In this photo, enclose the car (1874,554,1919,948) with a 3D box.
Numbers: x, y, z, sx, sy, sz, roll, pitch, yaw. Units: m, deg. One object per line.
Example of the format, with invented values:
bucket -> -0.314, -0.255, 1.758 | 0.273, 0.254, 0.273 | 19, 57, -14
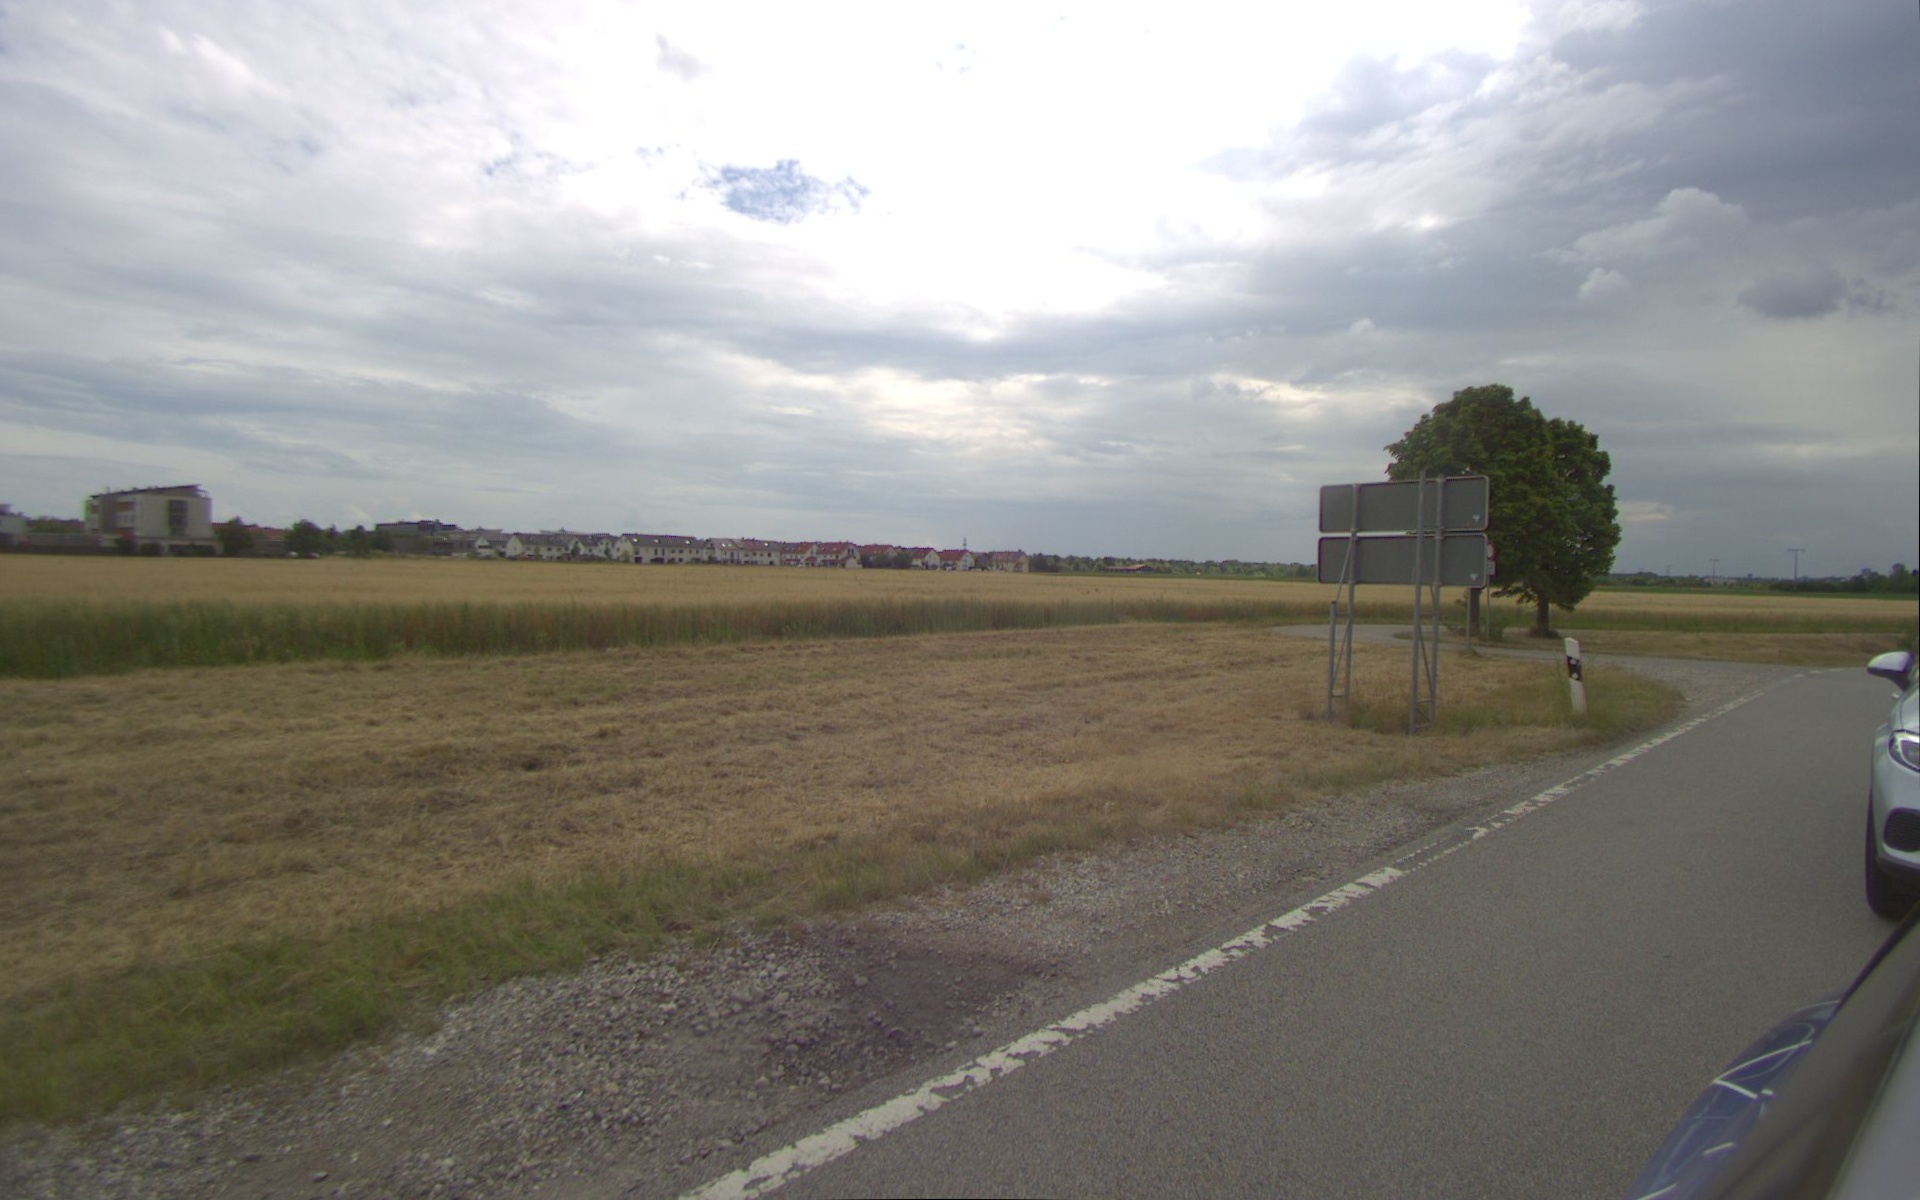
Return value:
car -> 6.014, 0.634, 5.115 | 4.377, 1.606, 1.833 | 0, 1, -45
